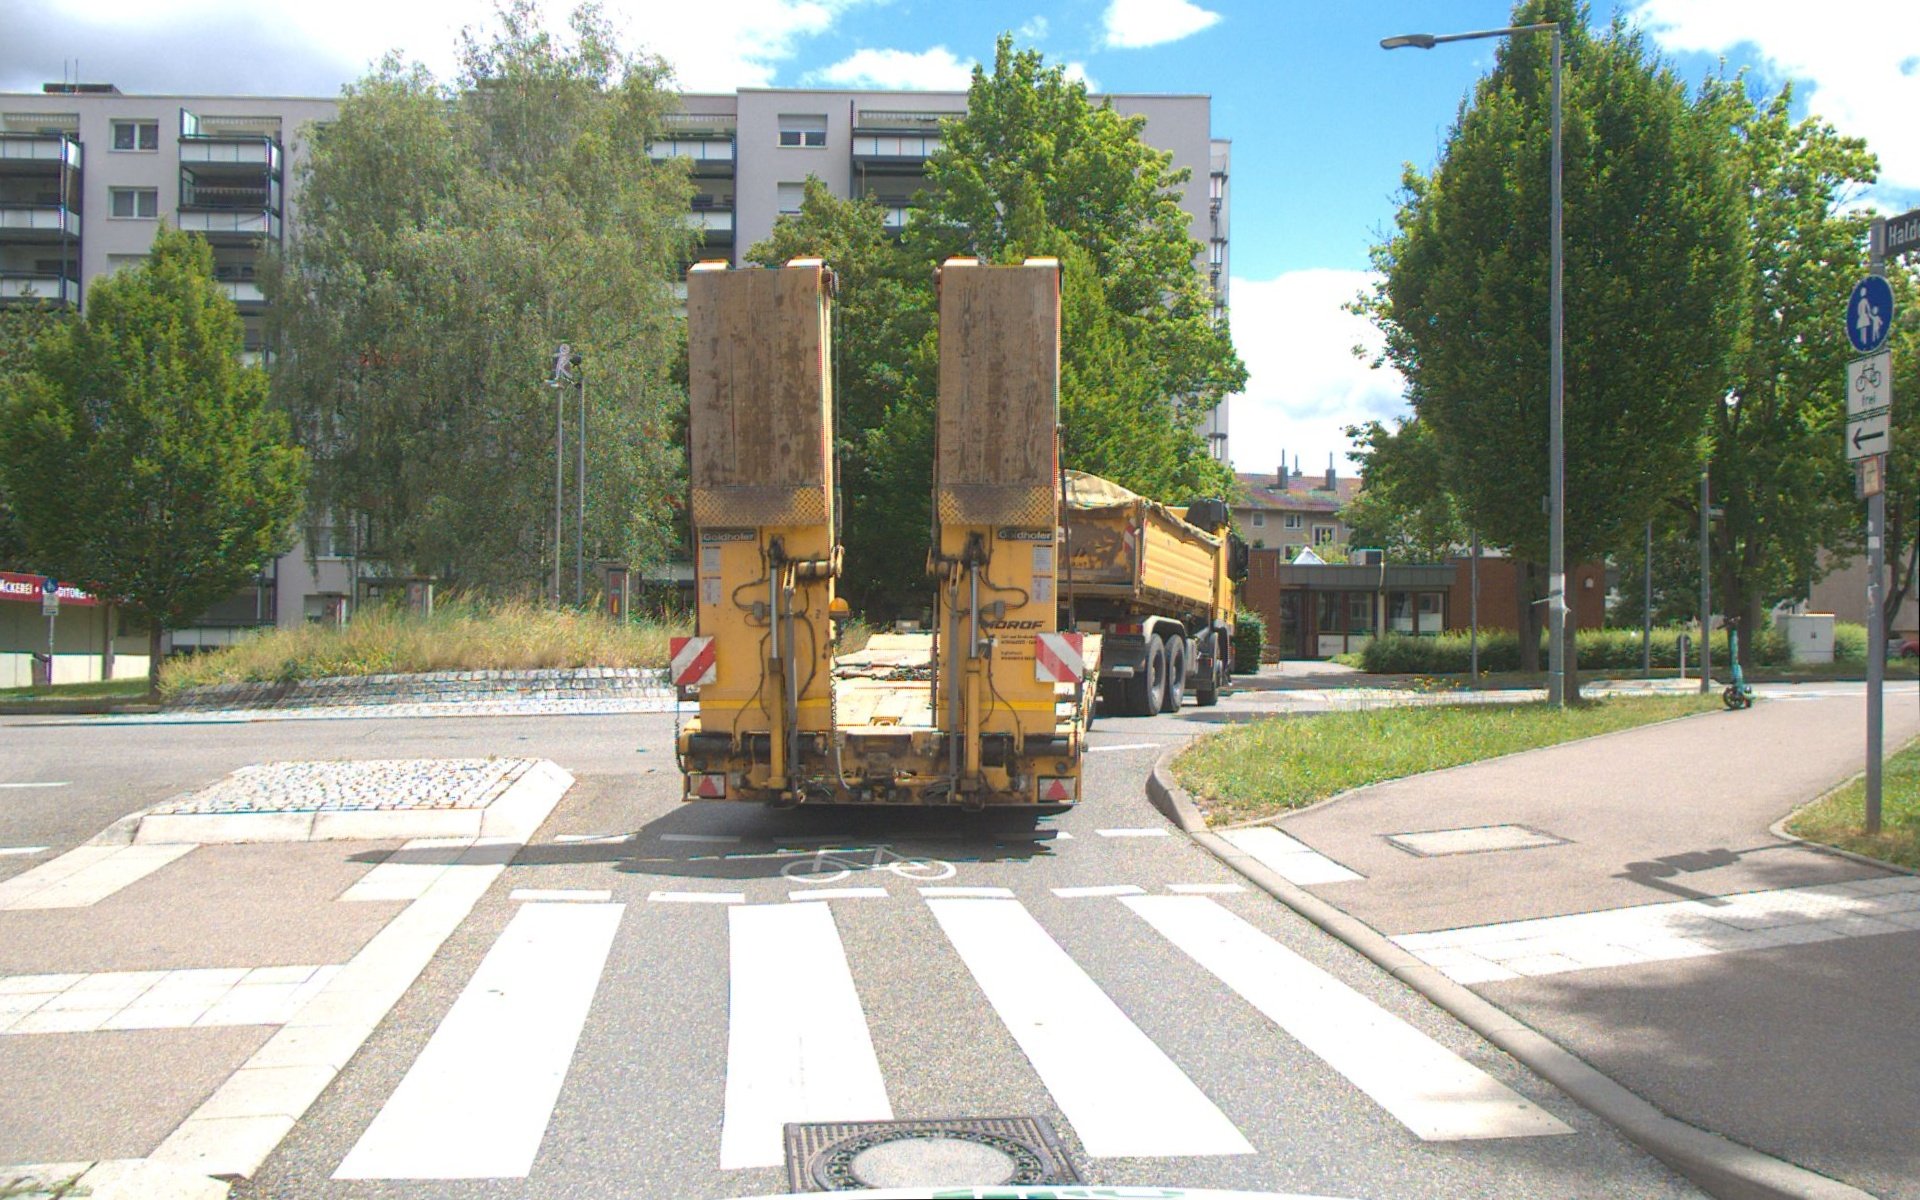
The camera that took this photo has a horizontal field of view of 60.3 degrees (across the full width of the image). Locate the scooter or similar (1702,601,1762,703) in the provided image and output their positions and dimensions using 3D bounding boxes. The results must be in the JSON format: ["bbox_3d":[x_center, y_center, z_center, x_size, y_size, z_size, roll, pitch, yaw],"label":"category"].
[{"bbox_3d":[10.839,0.719,23.210,0.476,1.366,1.383,-2,-1,36],"label":"scooter or similar"}]

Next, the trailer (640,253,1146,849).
[{"bbox_3d":[0.190,-0.338,15.075,2.803,3.431,10.849,1,0,7],"label":"trailer"}]

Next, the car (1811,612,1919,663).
[{"bbox_3d":[36.741,1.501,66.880,1.961,1.976,3.982,2,-2,-16],"label":"car"}]

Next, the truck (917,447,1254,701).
[{"bbox_3d":[2.223,-0.376,24.577,2.925,3.087,8.489,2,1,19],"label":"truck"}]

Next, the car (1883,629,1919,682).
[{"bbox_3d":[37.364,2.136,62.668,1.979,1.975,3.982,2,-1,-16],"label":"car"}]
